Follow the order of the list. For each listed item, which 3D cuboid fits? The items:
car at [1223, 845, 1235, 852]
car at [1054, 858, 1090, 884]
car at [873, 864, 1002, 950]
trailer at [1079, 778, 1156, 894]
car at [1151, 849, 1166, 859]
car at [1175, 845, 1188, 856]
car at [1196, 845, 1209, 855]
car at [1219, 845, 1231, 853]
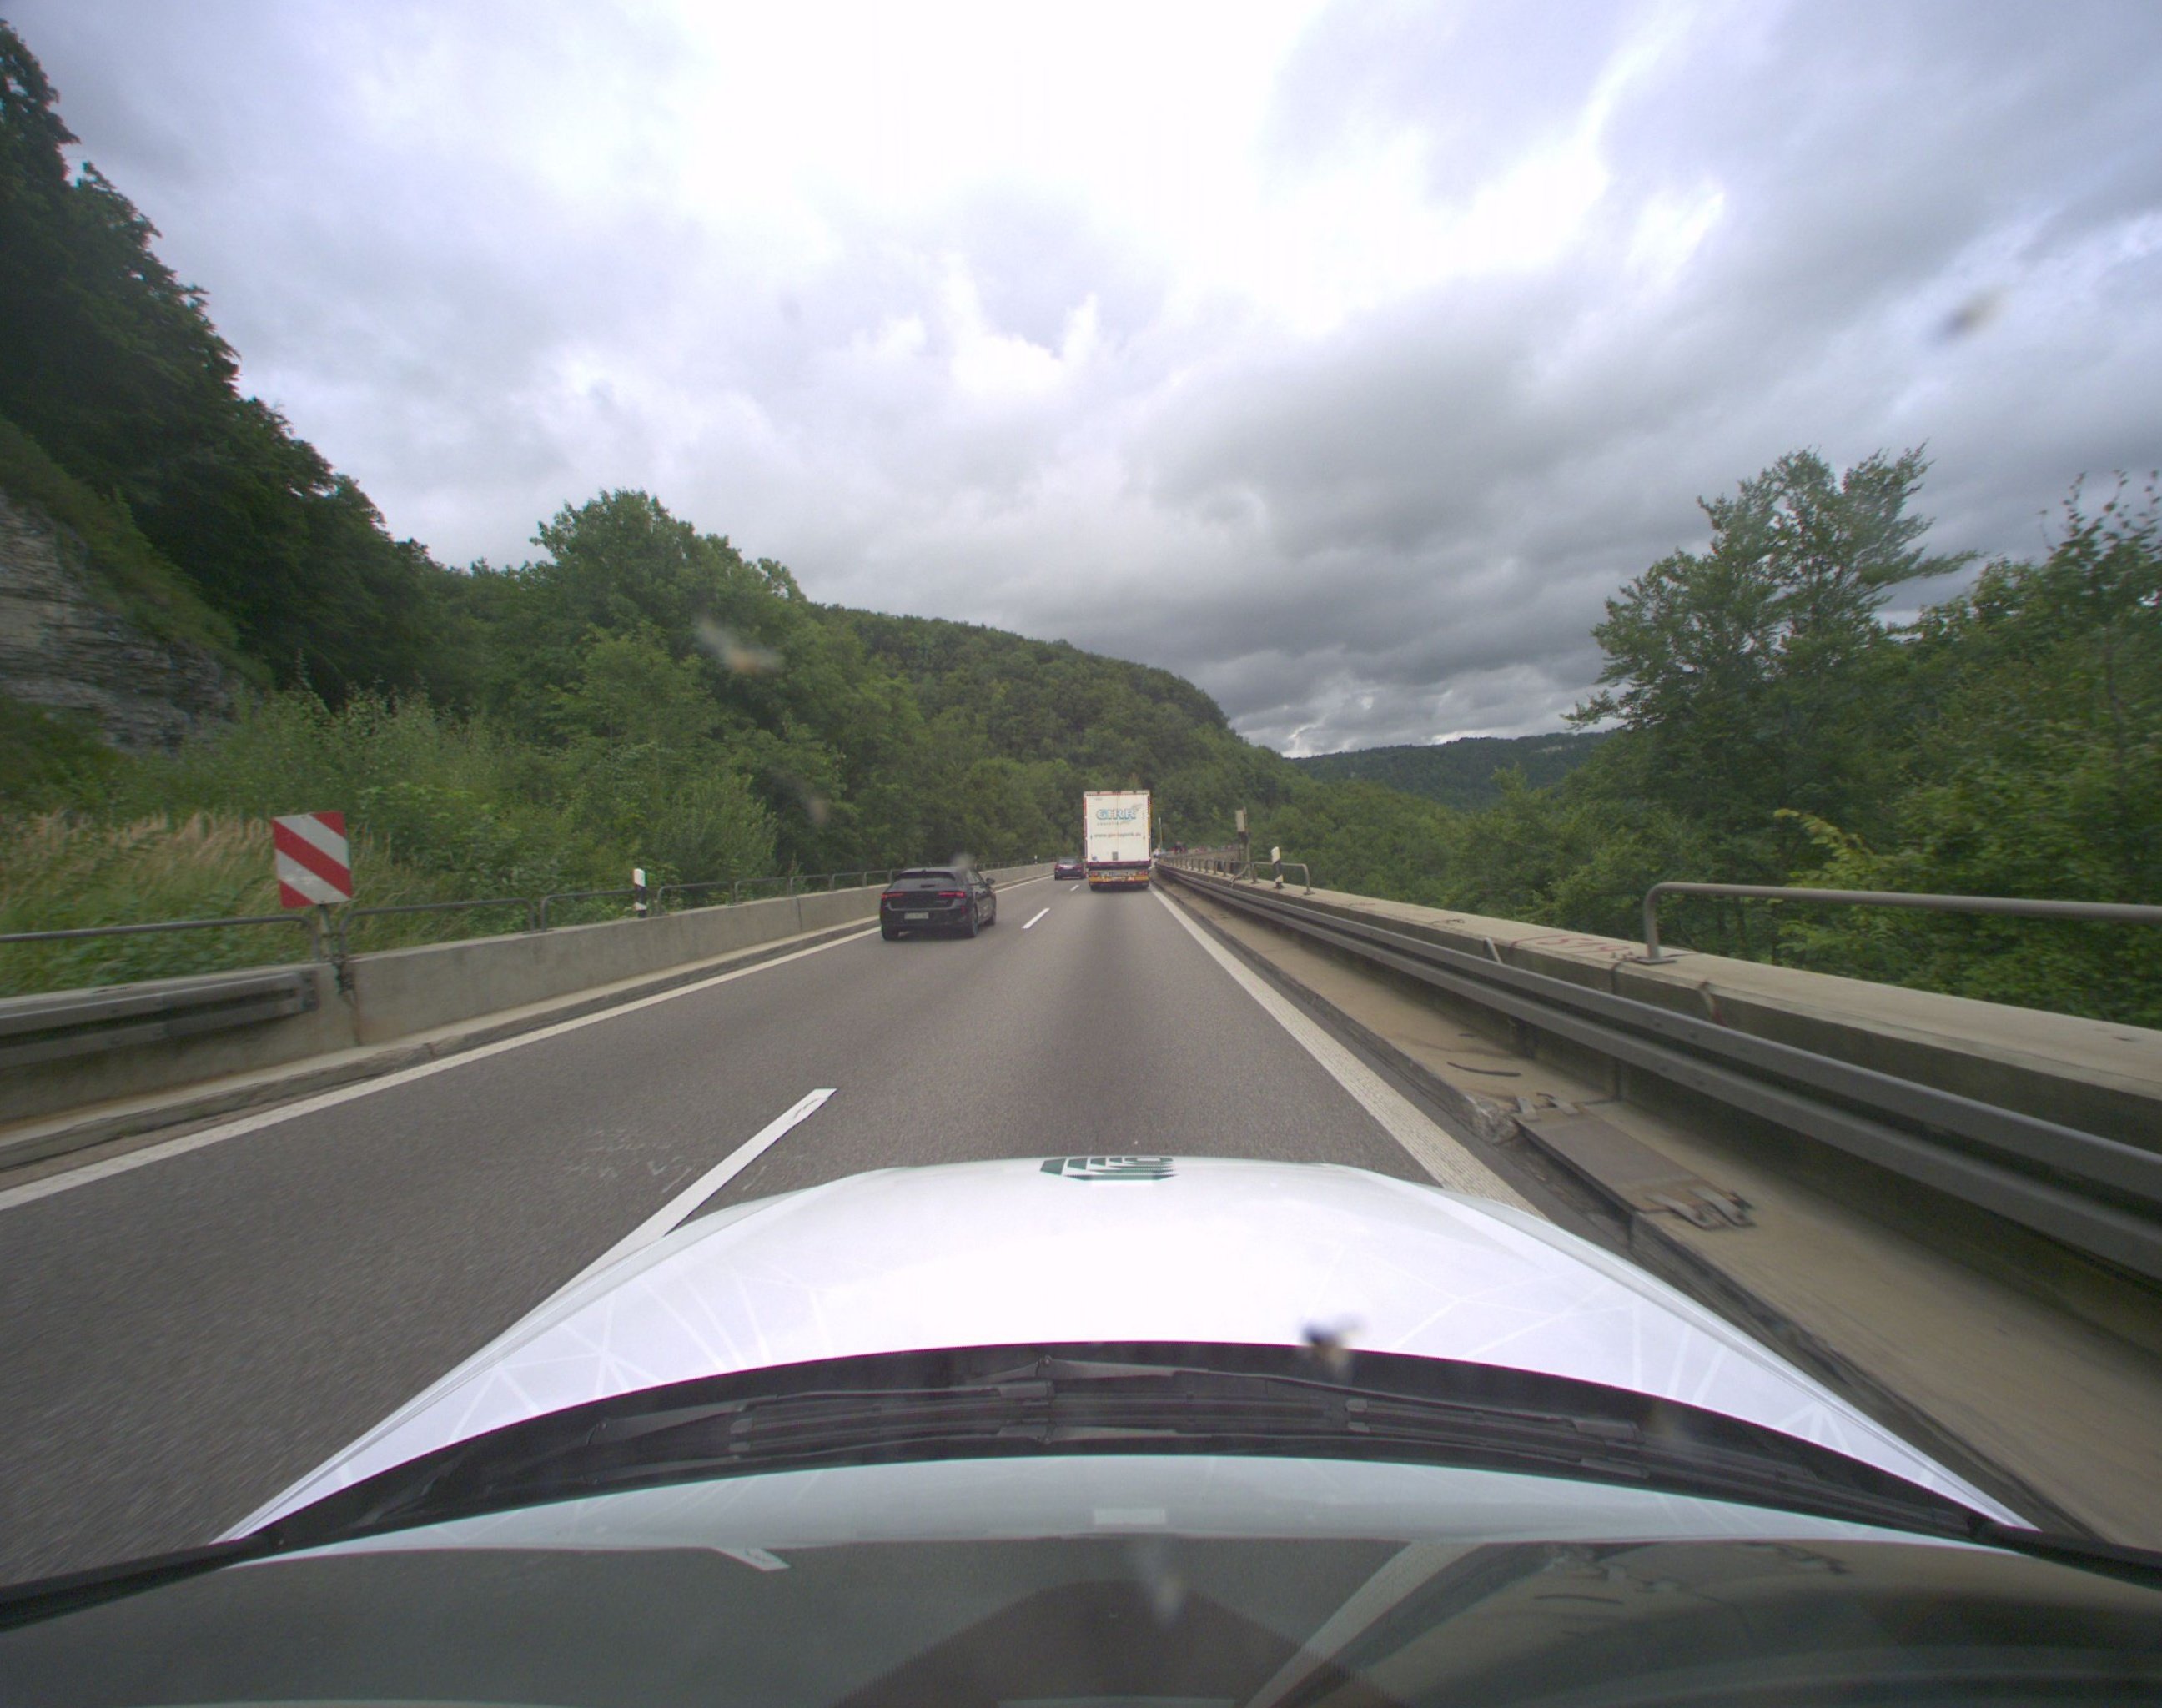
[{"bbox_3d":[39.952,-1.416,219.615,1.975,1.794,4.024,-2,-1,26],"label":"car"},{"bbox_3d":[-0.549,1.052,52.117,1.875,1.510,4.423,-2,-1,4],"label":"car"},{"bbox_3d":[-2.833,1.001,17.134,1.767,1.461,4.582,-2,0,1],"label":"car"},{"bbox_3d":[1.664,-0.639,37.372,2.802,4.302,12.251,-2,-1,2],"label":"trailer"},{"bbox_3d":[13.527,-0.017,141.752,1.978,1.618,4.016,-2,-1,15],"label":"car"},{"bbox_3d":[20.353,-0.694,164.987,1.978,2.014,4.018,-2,-1,18],"label":"car"},{"bbox_3d":[25.476,-0.822,170.375,1.977,1.794,4.018,-2,-1,18],"label":"car"},{"bbox_3d":[34.849,-1.187,196.809,1.976,1.794,4.021,-2,-1,21],"label":"car"}]
